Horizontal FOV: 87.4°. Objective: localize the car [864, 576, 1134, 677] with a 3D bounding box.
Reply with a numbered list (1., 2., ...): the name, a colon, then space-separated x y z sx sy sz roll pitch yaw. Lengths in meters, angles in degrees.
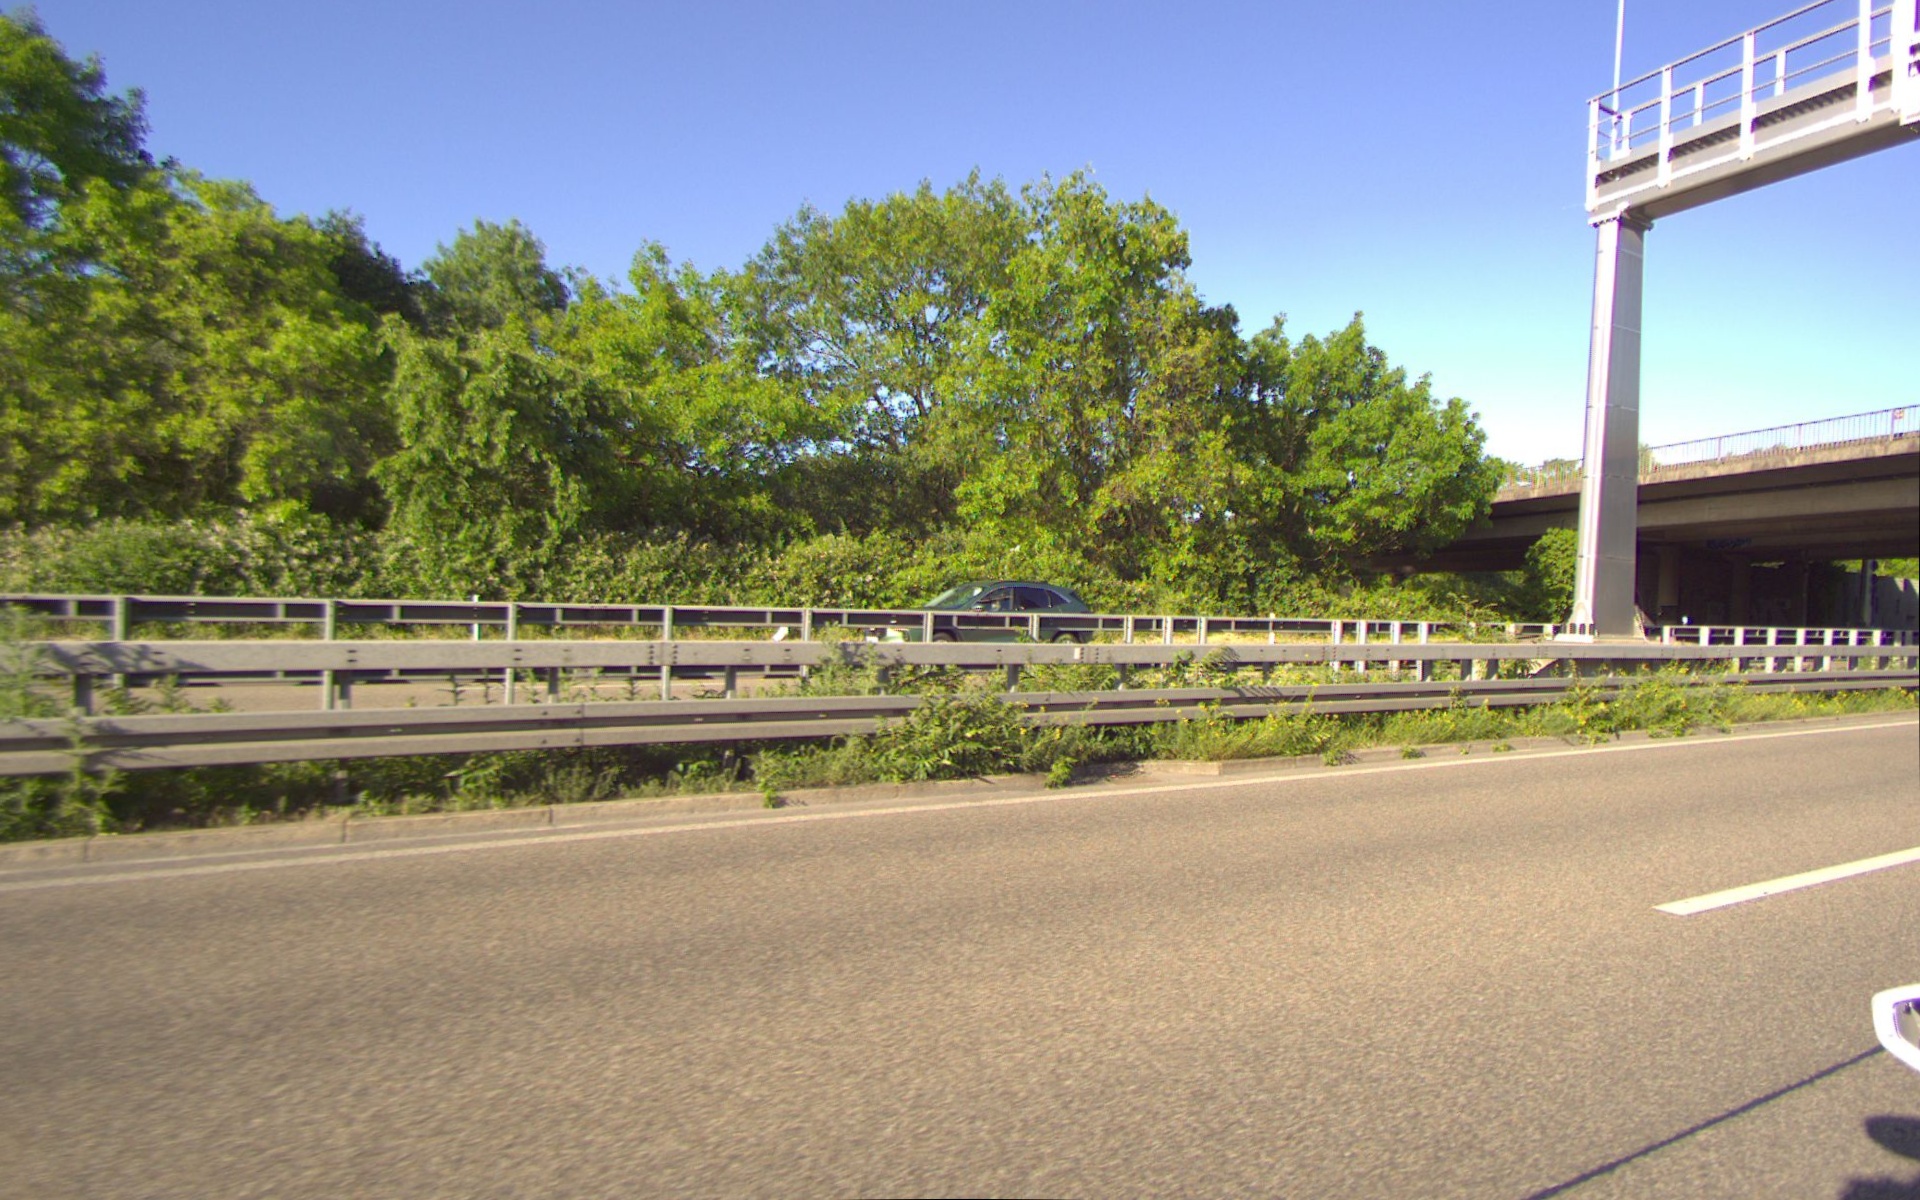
1. car: 0.754 0.476 18.854 4.659 1.663 1.986 1 1 -27
